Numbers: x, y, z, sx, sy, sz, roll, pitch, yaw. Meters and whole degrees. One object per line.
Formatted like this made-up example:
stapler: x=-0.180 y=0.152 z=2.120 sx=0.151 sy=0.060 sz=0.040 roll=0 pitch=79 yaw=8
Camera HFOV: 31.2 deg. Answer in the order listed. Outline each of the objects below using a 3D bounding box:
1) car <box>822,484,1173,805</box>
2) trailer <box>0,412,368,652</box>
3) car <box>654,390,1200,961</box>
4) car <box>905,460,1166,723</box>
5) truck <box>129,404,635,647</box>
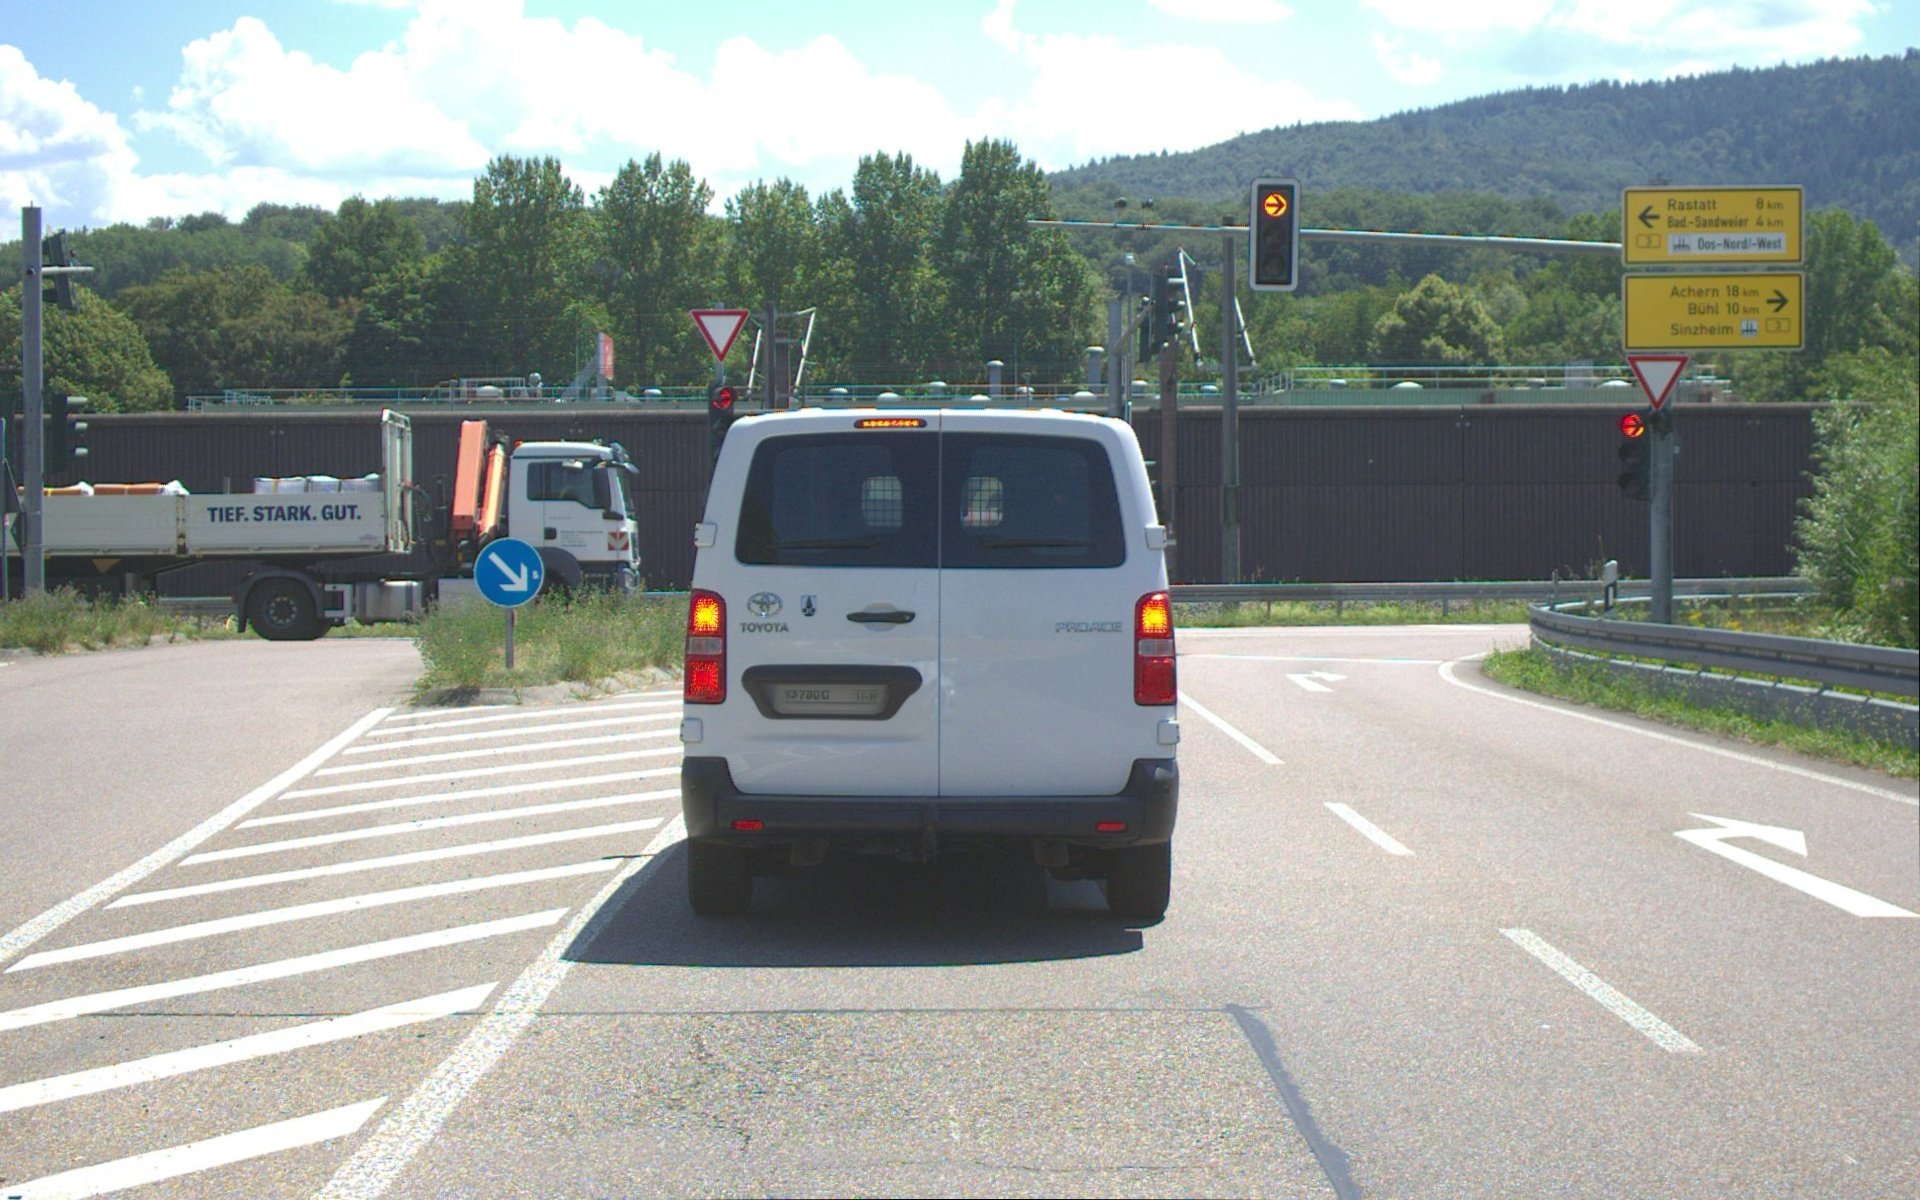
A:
car: x=0.216 y=0.229 z=21.969 sx=1.993 sy=1.806 sz=4.000 roll=-2 pitch=1 yaw=0
trailer: x=-15.559 y=-0.975 z=53.212 sx=12.319 sy=3.492 sz=2.233 roll=-2 pitch=2 yaw=-2
car: x=-0.129 y=0.230 z=13.869 sx=1.870 sy=1.958 sz=4.000 roll=0 pitch=1 yaw=0
car: x=0.591 y=-0.097 z=29.026 sx=1.993 sy=2.006 sz=4.000 roll=-2 pitch=1 yaw=0
truck: x=-8.890 y=-1.175 z=53.425 sx=7.405 sy=3.492 sz=2.233 roll=-2 pitch=2 yaw=-1
